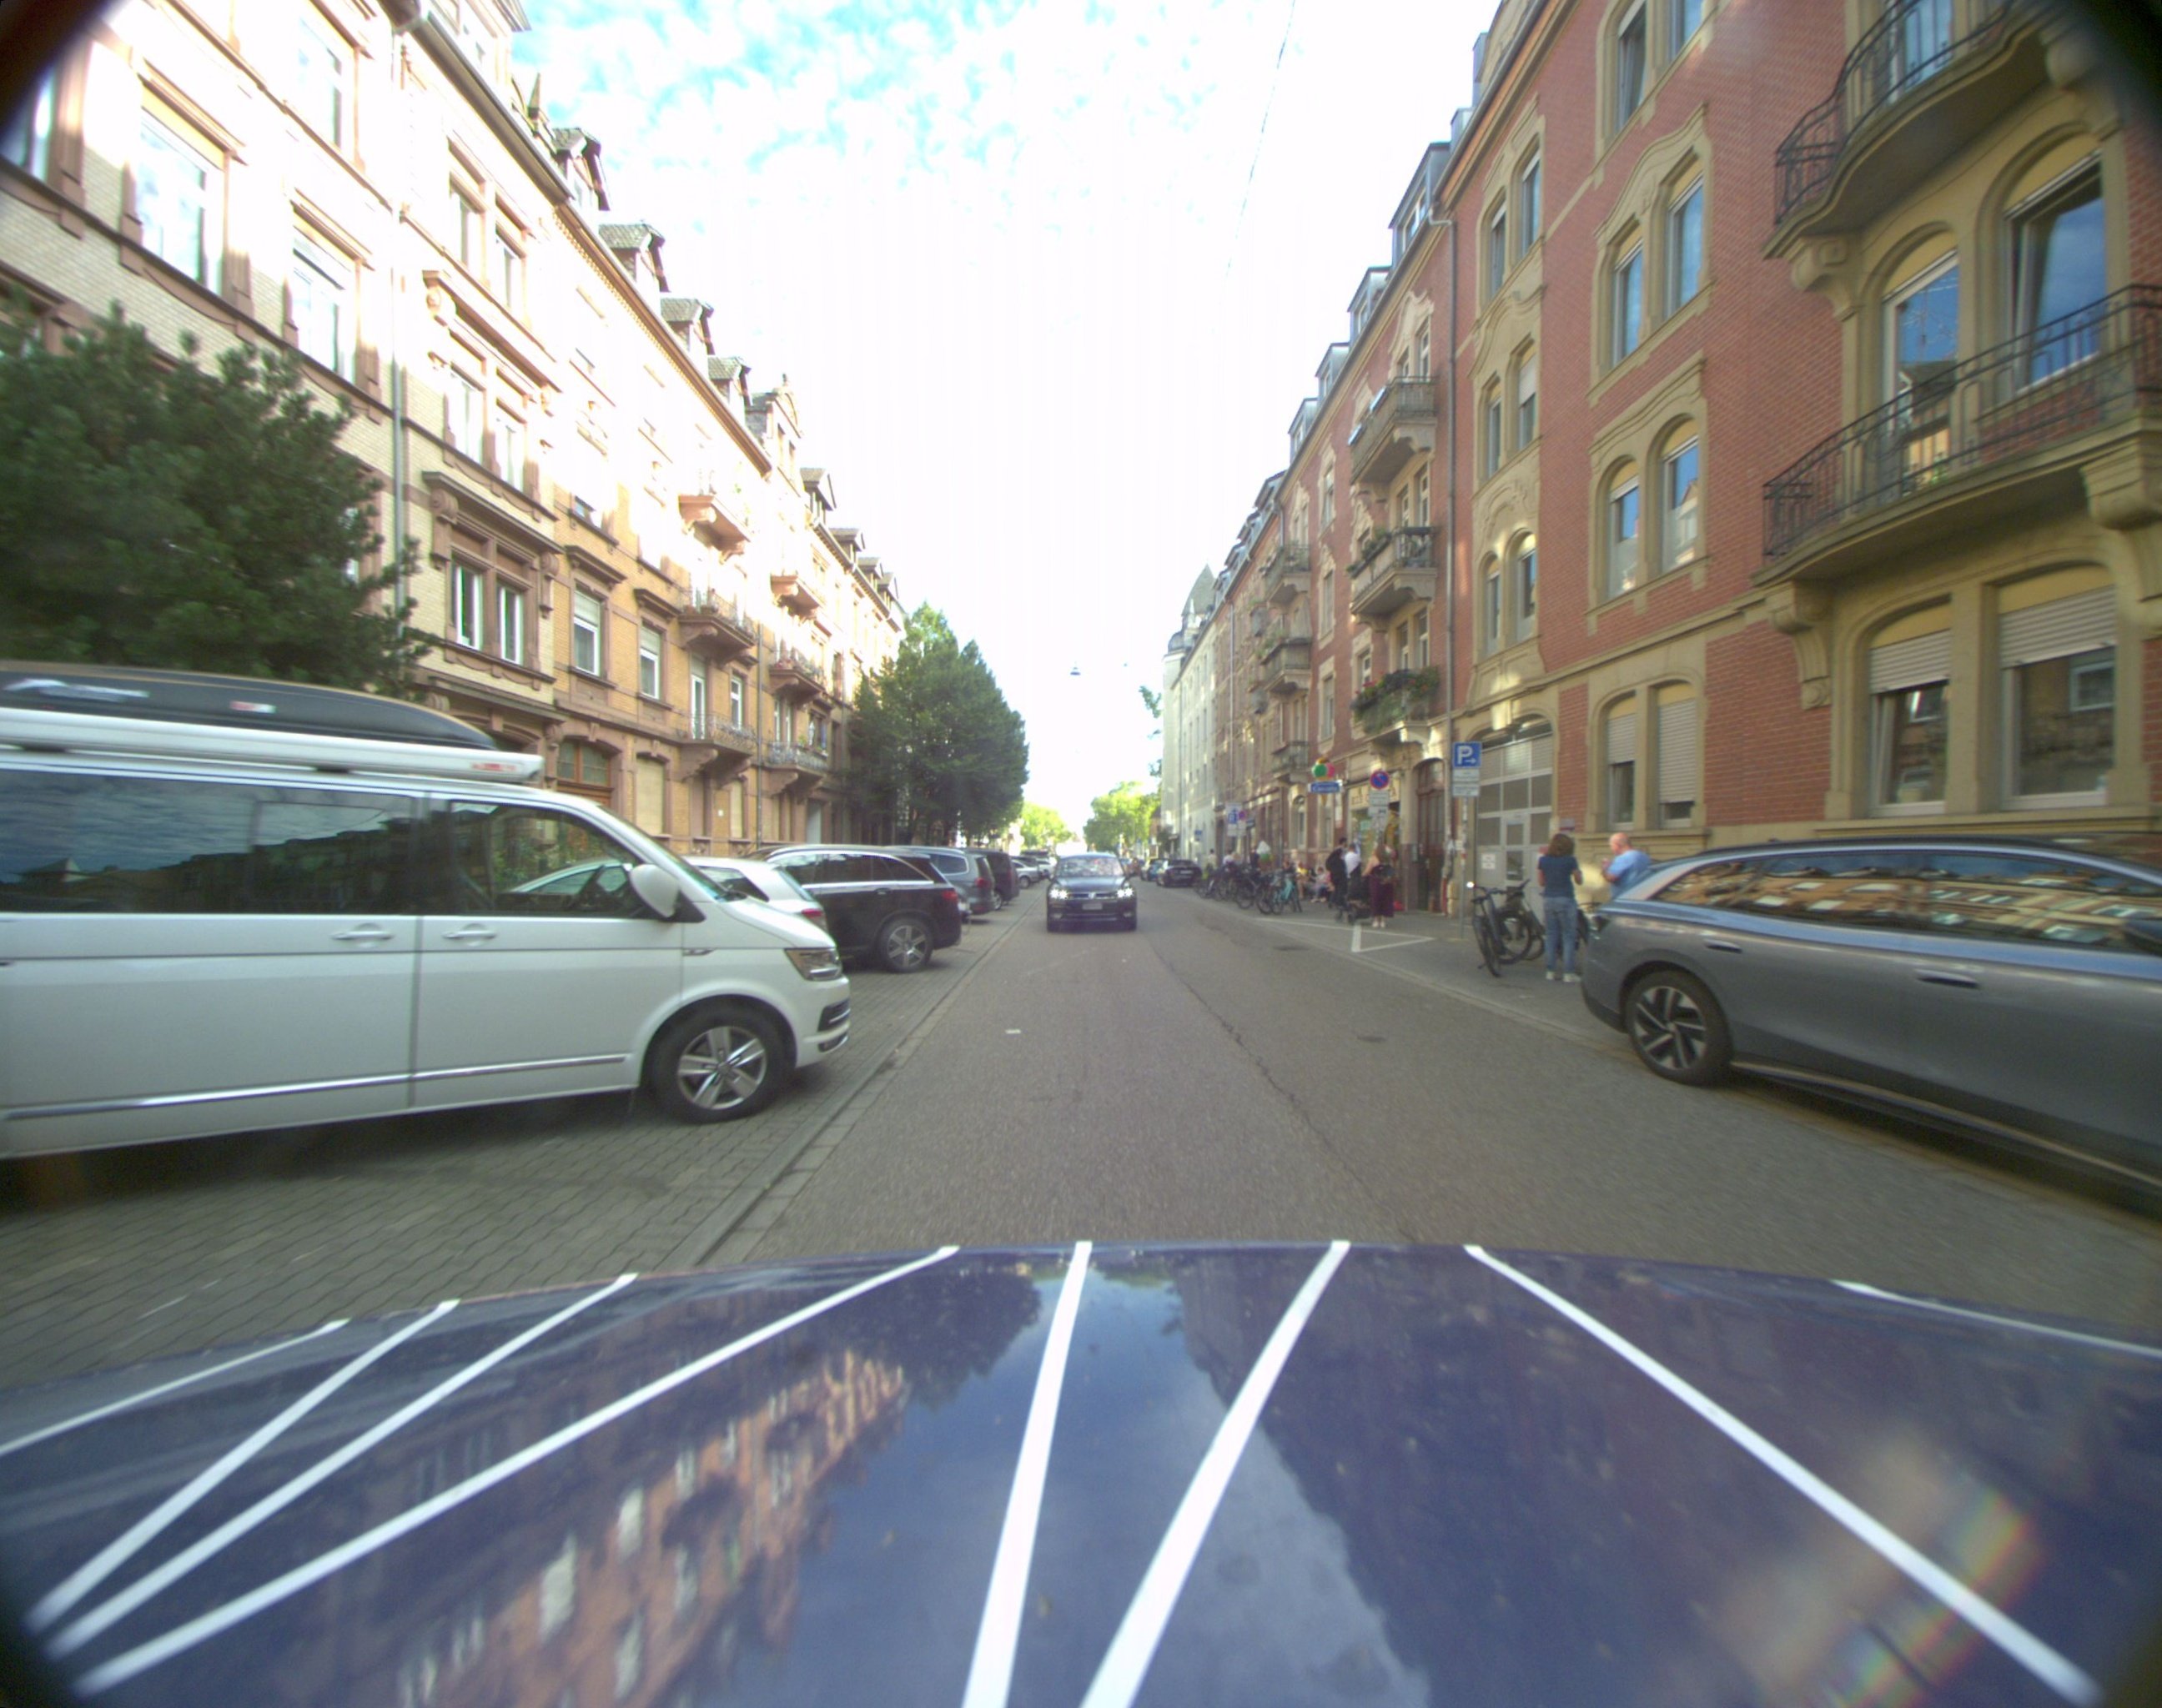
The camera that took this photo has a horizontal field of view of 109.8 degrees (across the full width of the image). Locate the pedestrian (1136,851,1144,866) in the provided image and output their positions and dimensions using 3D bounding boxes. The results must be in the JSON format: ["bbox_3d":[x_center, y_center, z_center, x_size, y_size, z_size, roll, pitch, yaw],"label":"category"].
[{"bbox_3d":[7.099,0.523,91.116,0.845,1.699,0.879,-1,1,0],"label":"pedestrian"}]

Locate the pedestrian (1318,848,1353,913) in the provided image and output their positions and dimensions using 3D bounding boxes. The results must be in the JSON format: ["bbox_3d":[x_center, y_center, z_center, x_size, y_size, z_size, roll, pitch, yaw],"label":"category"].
[{"bbox_3d":[6.765,0.691,20.177,0.566,1.686,0.645,-2,1,-31],"label":"pedestrian"}]

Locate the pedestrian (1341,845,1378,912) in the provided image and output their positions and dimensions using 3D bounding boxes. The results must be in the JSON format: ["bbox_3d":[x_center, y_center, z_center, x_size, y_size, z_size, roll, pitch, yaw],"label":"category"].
[{"bbox_3d":[7.251,0.627,19.785,0.667,1.686,0.584,-2,1,-31],"label":"pedestrian"}]

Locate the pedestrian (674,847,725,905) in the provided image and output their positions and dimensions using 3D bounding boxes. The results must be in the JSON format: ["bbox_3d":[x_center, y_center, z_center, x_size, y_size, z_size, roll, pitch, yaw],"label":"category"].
[{"bbox_3d":[-9.947,0.569,19.833,0.930,1.488,0.812,1,0,-7],"label":"pedestrian"}]

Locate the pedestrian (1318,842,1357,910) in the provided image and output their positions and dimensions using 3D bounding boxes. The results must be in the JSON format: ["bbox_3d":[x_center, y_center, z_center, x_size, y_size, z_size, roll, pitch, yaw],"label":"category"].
[{"bbox_3d":[7.155,0.599,21.223,0.764,1.843,0.664,-2,1,-31],"label":"pedestrian"}]

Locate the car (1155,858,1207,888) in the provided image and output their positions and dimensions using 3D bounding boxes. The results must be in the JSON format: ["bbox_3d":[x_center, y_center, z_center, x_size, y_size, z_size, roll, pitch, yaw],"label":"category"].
[{"bbox_3d":[4.900,0.874,37.935,1.817,1.343,5.114,-1,0,-1],"label":"car"}]

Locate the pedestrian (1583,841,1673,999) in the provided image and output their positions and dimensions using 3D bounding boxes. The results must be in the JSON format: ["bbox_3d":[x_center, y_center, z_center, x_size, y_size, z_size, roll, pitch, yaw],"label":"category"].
[{"bbox_3d":[6.024,0.694,8.374,0.683,1.651,0.550,-2,1,-30],"label":"pedestrian"}]

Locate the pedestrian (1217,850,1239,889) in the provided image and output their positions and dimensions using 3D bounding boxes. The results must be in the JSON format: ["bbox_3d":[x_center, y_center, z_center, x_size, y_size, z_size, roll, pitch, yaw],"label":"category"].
[{"bbox_3d":[6.644,0.700,34.301,0.761,1.749,0.667,-1,1,30],"label":"pedestrian"}]

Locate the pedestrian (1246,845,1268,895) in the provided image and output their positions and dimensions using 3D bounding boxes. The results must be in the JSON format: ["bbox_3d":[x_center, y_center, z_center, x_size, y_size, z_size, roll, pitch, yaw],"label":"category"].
[{"bbox_3d":[6.694,0.611,28.941,0.646,1.881,0.602,-1,1,30],"label":"pedestrian"}]

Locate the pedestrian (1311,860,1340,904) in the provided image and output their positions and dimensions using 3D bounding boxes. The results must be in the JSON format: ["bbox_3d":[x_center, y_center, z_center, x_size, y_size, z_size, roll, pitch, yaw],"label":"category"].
[{"bbox_3d":[7.494,0.856,23.324,0.719,1.306,0.439,-1,1,-4],"label":"pedestrian"}]

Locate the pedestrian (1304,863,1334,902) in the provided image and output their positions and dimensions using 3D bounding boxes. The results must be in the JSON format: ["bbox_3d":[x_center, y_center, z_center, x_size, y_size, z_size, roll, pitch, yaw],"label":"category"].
[{"bbox_3d":[7.459,0.890,23.845,0.710,1.189,0.586,-1,1,-4],"label":"pedestrian"}]

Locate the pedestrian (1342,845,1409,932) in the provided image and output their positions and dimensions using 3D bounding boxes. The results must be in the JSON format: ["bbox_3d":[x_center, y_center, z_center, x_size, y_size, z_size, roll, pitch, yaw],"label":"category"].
[{"bbox_3d":[5.792,0.664,14.987,0.914,1.651,0.827,-1,0,-8],"label":"pedestrian"}]

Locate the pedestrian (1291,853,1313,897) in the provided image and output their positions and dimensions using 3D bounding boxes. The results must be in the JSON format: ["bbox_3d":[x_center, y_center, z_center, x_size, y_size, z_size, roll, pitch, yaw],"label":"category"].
[{"bbox_3d":[7.458,0.713,25.646,0.605,1.461,0.726,-1,1,10],"label":"pedestrian"}]

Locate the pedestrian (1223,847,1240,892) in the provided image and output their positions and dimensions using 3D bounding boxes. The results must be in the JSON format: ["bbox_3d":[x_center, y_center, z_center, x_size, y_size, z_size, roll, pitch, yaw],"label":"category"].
[{"bbox_3d":[5.866,0.603,29.645,0.605,1.741,0.946,-1,1,12],"label":"pedestrian"}]

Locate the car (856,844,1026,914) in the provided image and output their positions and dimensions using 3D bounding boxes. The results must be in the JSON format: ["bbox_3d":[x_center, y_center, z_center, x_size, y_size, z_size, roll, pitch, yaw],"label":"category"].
[{"bbox_3d":[-3.979,0.714,21.841,4.412,1.812,1.750,2,0,-32],"label":"car"}]

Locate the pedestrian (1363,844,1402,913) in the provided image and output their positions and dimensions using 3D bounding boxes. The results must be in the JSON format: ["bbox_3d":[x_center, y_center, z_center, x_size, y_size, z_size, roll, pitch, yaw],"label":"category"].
[{"bbox_3d":[7.575,0.613,19.110,0.665,1.686,0.763,-1,1,0],"label":"pedestrian"}]

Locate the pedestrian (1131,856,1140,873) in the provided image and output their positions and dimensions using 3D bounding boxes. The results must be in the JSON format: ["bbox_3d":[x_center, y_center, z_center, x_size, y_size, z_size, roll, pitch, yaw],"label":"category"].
[{"bbox_3d":[4.473,0.884,62.307,0.739,1.341,0.644,-1,1,2],"label":"pedestrian"}]

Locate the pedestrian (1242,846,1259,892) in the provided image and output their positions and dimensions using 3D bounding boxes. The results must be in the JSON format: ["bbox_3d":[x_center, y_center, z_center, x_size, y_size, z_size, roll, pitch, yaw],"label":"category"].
[{"bbox_3d":[6.526,0.582,29.298,0.605,1.741,0.726,-1,1,10],"label":"pedestrian"}]

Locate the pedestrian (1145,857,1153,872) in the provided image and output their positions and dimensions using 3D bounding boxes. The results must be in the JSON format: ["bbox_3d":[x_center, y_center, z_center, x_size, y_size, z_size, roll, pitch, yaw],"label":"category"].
[{"bbox_3d":[5.634,0.896,63.002,0.597,1.236,0.694,-1,1,7],"label":"pedestrian"}]

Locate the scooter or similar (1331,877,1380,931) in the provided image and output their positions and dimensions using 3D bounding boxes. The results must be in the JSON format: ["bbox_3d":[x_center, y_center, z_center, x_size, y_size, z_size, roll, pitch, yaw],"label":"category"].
[{"bbox_3d":[5.729,1.028,15.889,0.607,1.049,0.922,-2,0,-5],"label":"scooter or similar"}]

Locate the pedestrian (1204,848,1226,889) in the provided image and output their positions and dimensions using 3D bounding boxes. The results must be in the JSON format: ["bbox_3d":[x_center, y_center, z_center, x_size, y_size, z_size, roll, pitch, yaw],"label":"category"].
[{"bbox_3d":[5.985,0.640,33.882,0.761,1.808,0.667,-1,1,30],"label":"pedestrian"}]

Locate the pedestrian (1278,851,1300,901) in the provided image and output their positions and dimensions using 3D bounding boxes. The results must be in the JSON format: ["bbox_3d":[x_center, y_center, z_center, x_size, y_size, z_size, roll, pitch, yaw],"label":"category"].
[{"bbox_3d":[6.873,0.719,25.146,0.554,1.607,0.584,-1,1,0],"label":"pedestrian"}]

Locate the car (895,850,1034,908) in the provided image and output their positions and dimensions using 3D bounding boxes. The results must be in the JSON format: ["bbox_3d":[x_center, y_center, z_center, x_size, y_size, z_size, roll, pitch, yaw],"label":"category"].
[{"bbox_3d":[-3.727,0.792,24.490,4.007,1.730,1.835,1,0,-31],"label":"car"}]

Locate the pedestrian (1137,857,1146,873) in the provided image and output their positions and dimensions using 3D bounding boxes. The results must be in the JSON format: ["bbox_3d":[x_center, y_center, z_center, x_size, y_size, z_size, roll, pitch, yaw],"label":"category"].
[{"bbox_3d":[5.012,0.895,63.107,0.668,1.328,0.740,-1,1,7],"label":"pedestrian"}]

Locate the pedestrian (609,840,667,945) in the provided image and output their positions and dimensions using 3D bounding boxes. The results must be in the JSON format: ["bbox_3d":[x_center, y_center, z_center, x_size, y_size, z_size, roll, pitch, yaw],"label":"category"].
[{"bbox_3d":[-7.393,0.616,12.678,0.649,1.685,0.697,-2,1,-44],"label":"pedestrian"}]

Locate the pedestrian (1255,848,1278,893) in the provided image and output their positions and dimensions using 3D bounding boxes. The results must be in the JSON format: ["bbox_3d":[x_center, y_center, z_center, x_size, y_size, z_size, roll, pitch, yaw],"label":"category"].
[{"bbox_3d":[7.431,0.655,30.385,0.688,1.749,0.667,-1,1,30],"label":"pedestrian"}]

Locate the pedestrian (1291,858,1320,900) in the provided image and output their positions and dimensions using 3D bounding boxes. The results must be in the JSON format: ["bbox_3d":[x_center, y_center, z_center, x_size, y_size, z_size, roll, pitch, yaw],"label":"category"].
[{"bbox_3d":[7.240,0.806,24.520,0.725,1.306,0.606,-1,1,-4],"label":"pedestrian"}]

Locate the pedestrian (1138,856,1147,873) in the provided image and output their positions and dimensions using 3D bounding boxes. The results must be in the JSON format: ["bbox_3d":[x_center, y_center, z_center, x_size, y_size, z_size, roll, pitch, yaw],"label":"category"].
[{"bbox_3d":[5.024,0.837,61.731,0.689,1.365,0.739,-1,1,3],"label":"pedestrian"}]

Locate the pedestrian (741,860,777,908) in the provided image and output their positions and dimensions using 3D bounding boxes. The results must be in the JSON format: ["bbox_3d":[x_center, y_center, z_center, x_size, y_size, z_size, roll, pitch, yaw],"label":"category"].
[{"bbox_3d":[-8.367,0.771,19.762,0.602,1.212,0.673,3,0,0],"label":"pedestrian"}]

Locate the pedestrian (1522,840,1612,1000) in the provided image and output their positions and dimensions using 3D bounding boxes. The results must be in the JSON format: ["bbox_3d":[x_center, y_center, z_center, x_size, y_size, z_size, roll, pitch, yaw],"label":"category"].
[{"bbox_3d":[5.431,0.701,8.503,0.566,1.699,0.666,-2,1,-35],"label":"pedestrian"}]

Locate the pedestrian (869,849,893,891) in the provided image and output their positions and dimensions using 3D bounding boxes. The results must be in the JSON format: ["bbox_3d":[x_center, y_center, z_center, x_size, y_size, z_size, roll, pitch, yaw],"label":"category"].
[{"bbox_3d":[-7.968,0.643,30.266,0.733,1.625,0.833,1,1,-3],"label":"pedestrian"}]

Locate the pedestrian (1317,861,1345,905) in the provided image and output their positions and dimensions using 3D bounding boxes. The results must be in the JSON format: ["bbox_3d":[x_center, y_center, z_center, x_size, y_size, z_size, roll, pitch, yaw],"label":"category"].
[{"bbox_3d":[7.524,0.857,22.913,0.703,1.306,0.373,-1,1,-4],"label":"pedestrian"}]
